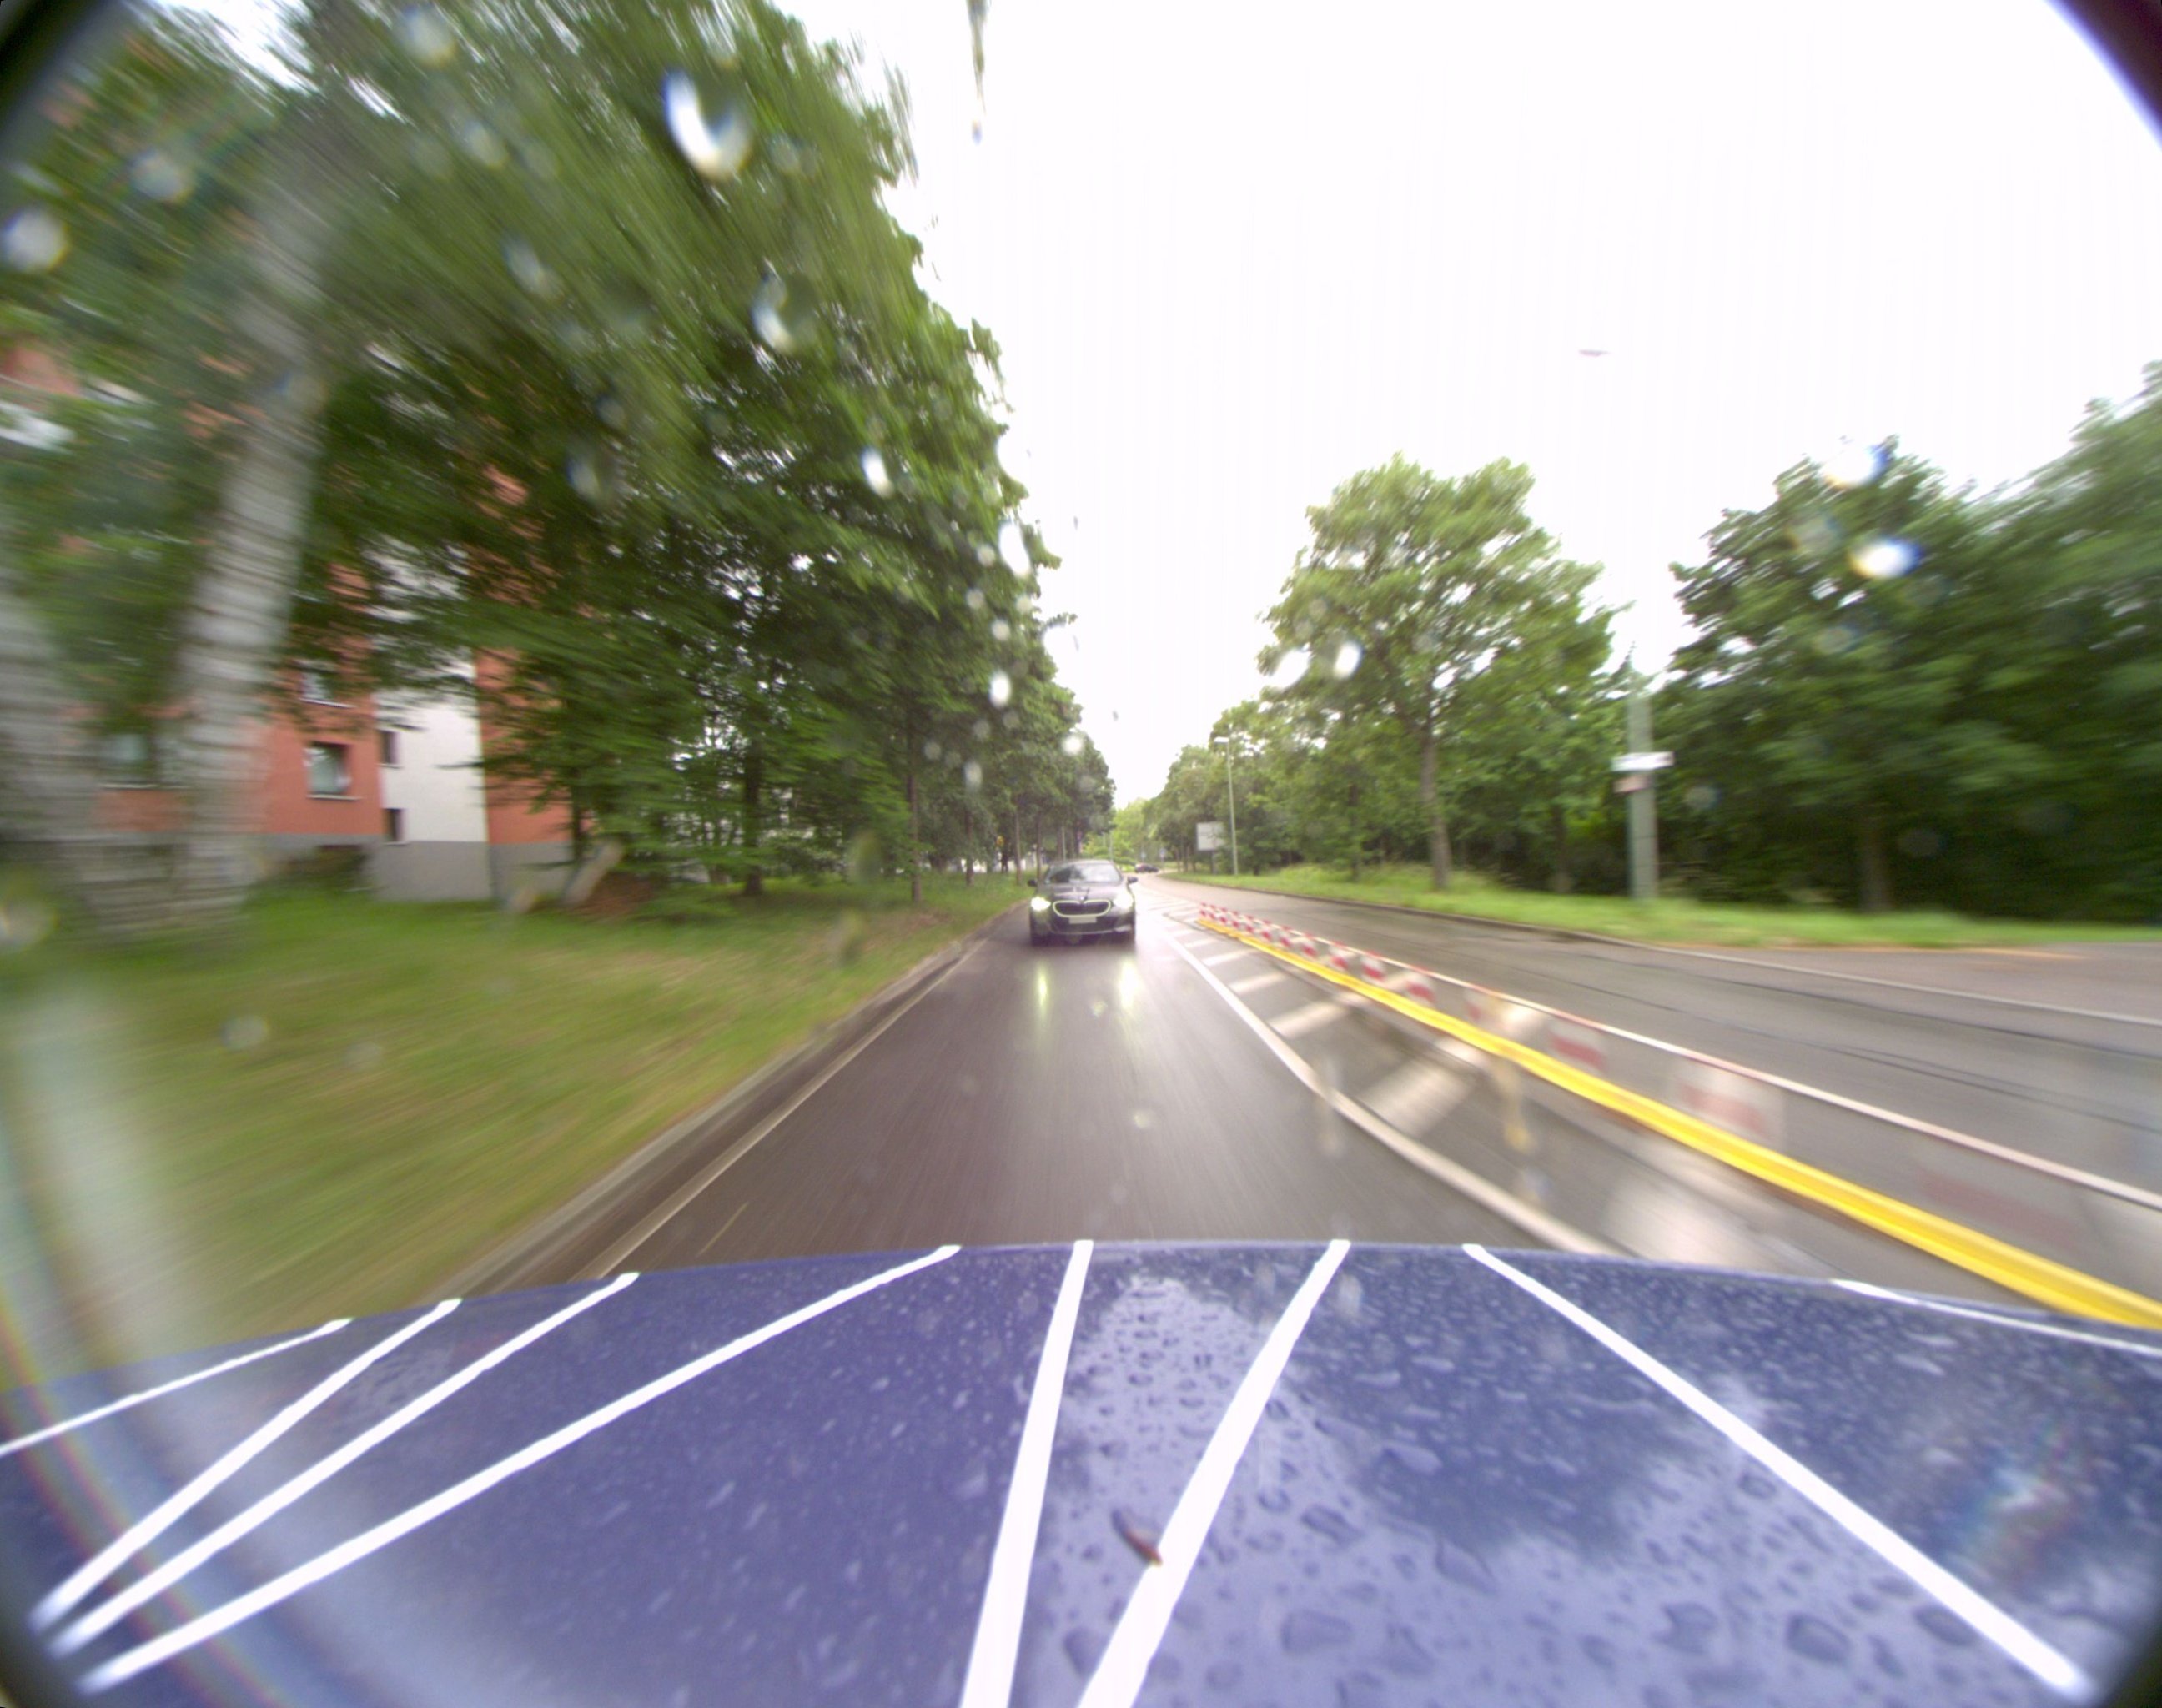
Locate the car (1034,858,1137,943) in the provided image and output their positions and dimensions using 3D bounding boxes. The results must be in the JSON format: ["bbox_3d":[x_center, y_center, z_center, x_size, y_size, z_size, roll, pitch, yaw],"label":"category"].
[{"bbox_3d":[0.207,0.884,16.182,1.845,1.471,4.001,-3,0,4],"label":"car"}]

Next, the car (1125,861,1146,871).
[{"bbox_3d":[8.140,1.811,113.880,3.052,1.293,1.504,-3,-1,-2],"label":"car"}]
